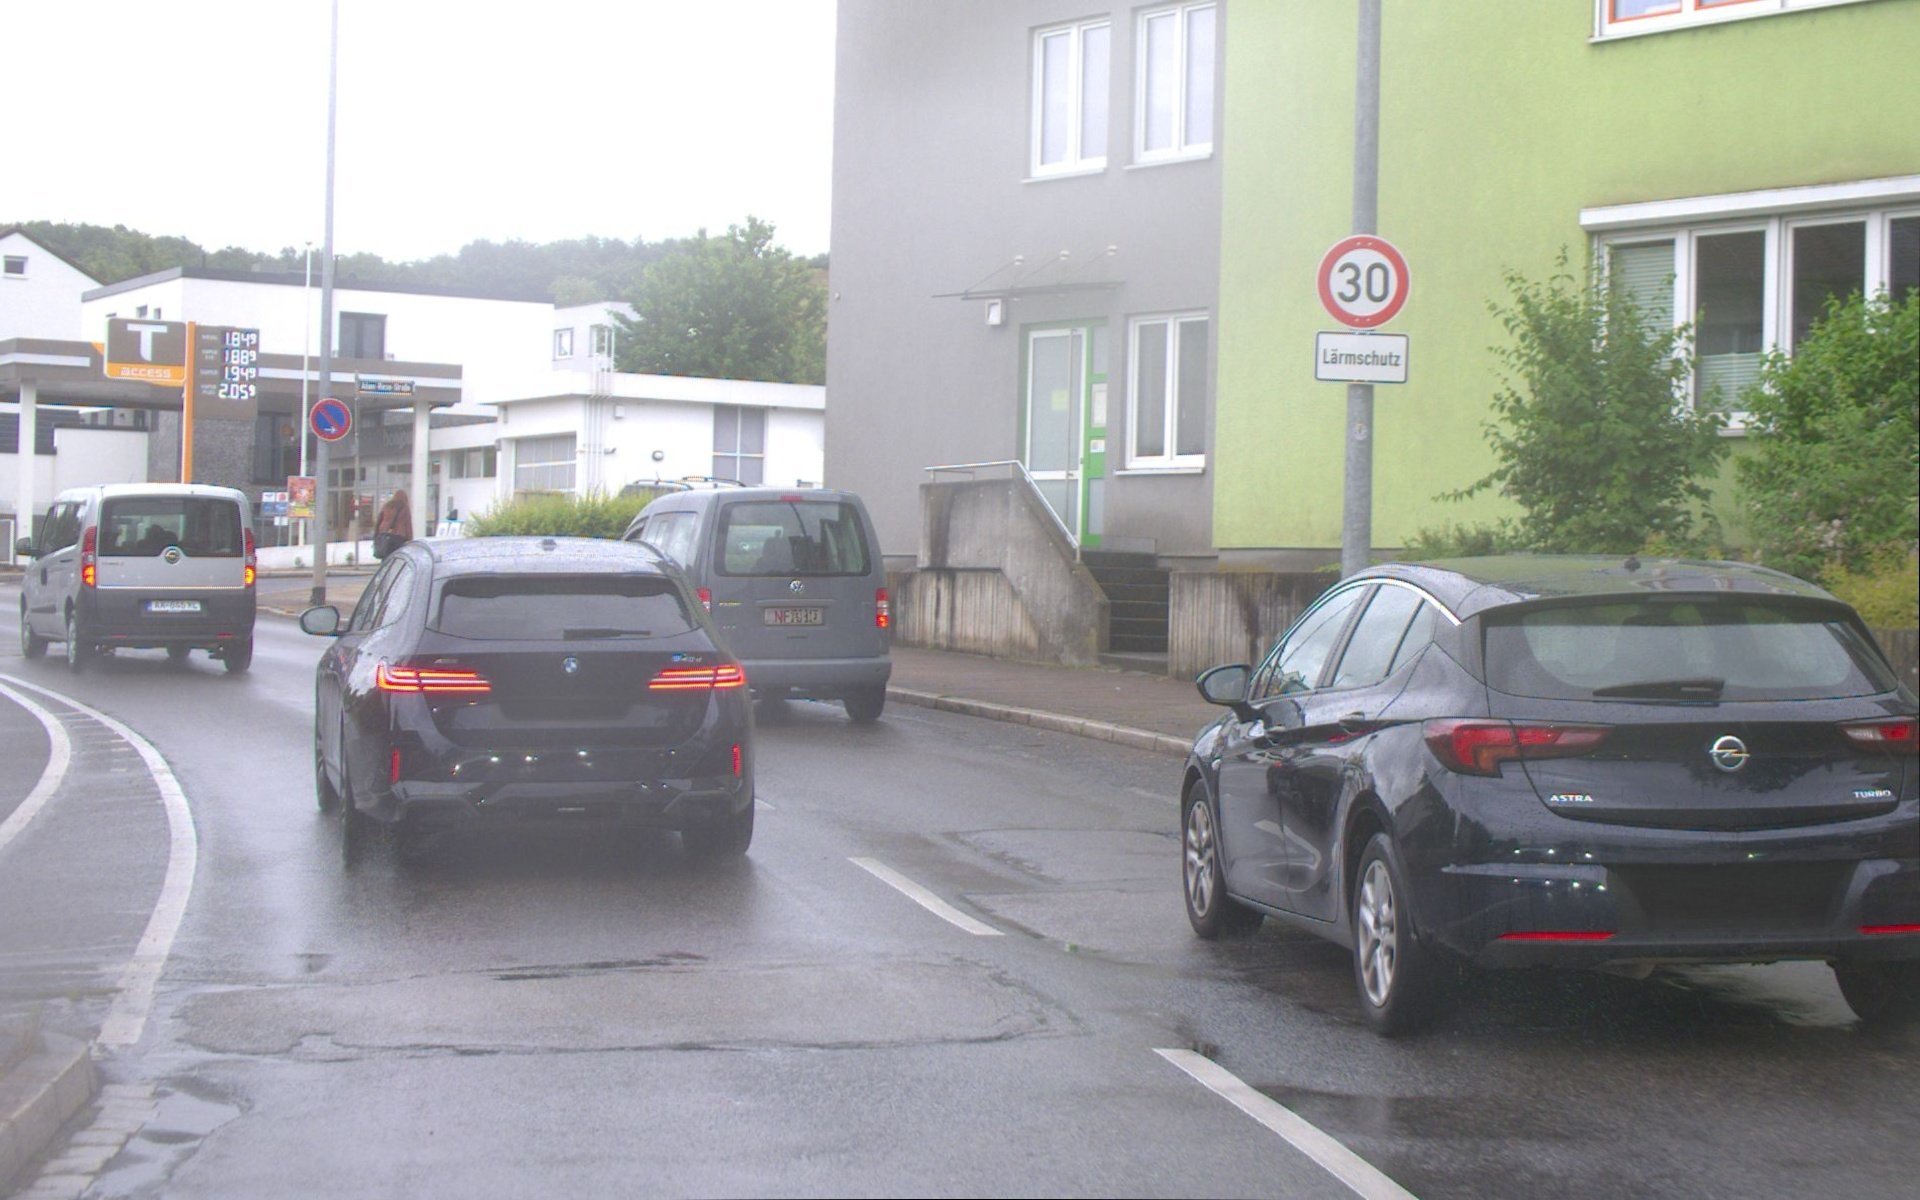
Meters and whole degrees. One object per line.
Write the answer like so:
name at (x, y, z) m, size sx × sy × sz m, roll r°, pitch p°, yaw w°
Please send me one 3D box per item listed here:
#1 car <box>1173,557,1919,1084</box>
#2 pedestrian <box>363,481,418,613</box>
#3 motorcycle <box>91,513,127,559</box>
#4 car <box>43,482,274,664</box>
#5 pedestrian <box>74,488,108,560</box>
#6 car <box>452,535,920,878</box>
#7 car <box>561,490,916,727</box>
car at (1.974, 0.600, 11.652) m, size 1.756 × 1.444 × 4.001 m, roll 1°, pitch 1°, yaw -7°
pedestrian at (-8.719, -0.807, 52.650) m, size 0.715 × 2.007 × 0.615 m, roll 1°, pitch -1°, yaw -19°
motorcycle at (-19.809, -1.481, 80.021) m, size 0.462 × 1.052 × 1.390 m, roll 1°, pitch -1°, yaw -28°
car at (-8.224, -0.249, 35.056) m, size 1.993 × 1.732 × 4.001 m, roll 1°, pitch 0°, yaw -17°
pedestrian at (-20.226, -1.767, 80.009) m, size 0.610 × 1.650 × 0.586 m, roll 1°, pitch -1°, yaw -28°
car at (-1.472, 0.478, 16.924) m, size 1.993 × 1.479 × 4.001 m, roll 1°, pitch 0°, yaw -9°
car at (-1.867, 0.075, 27.729) m, size 1.838 × 1.761 × 4.001 m, roll 1°, pitch 0°, yaw -19°
